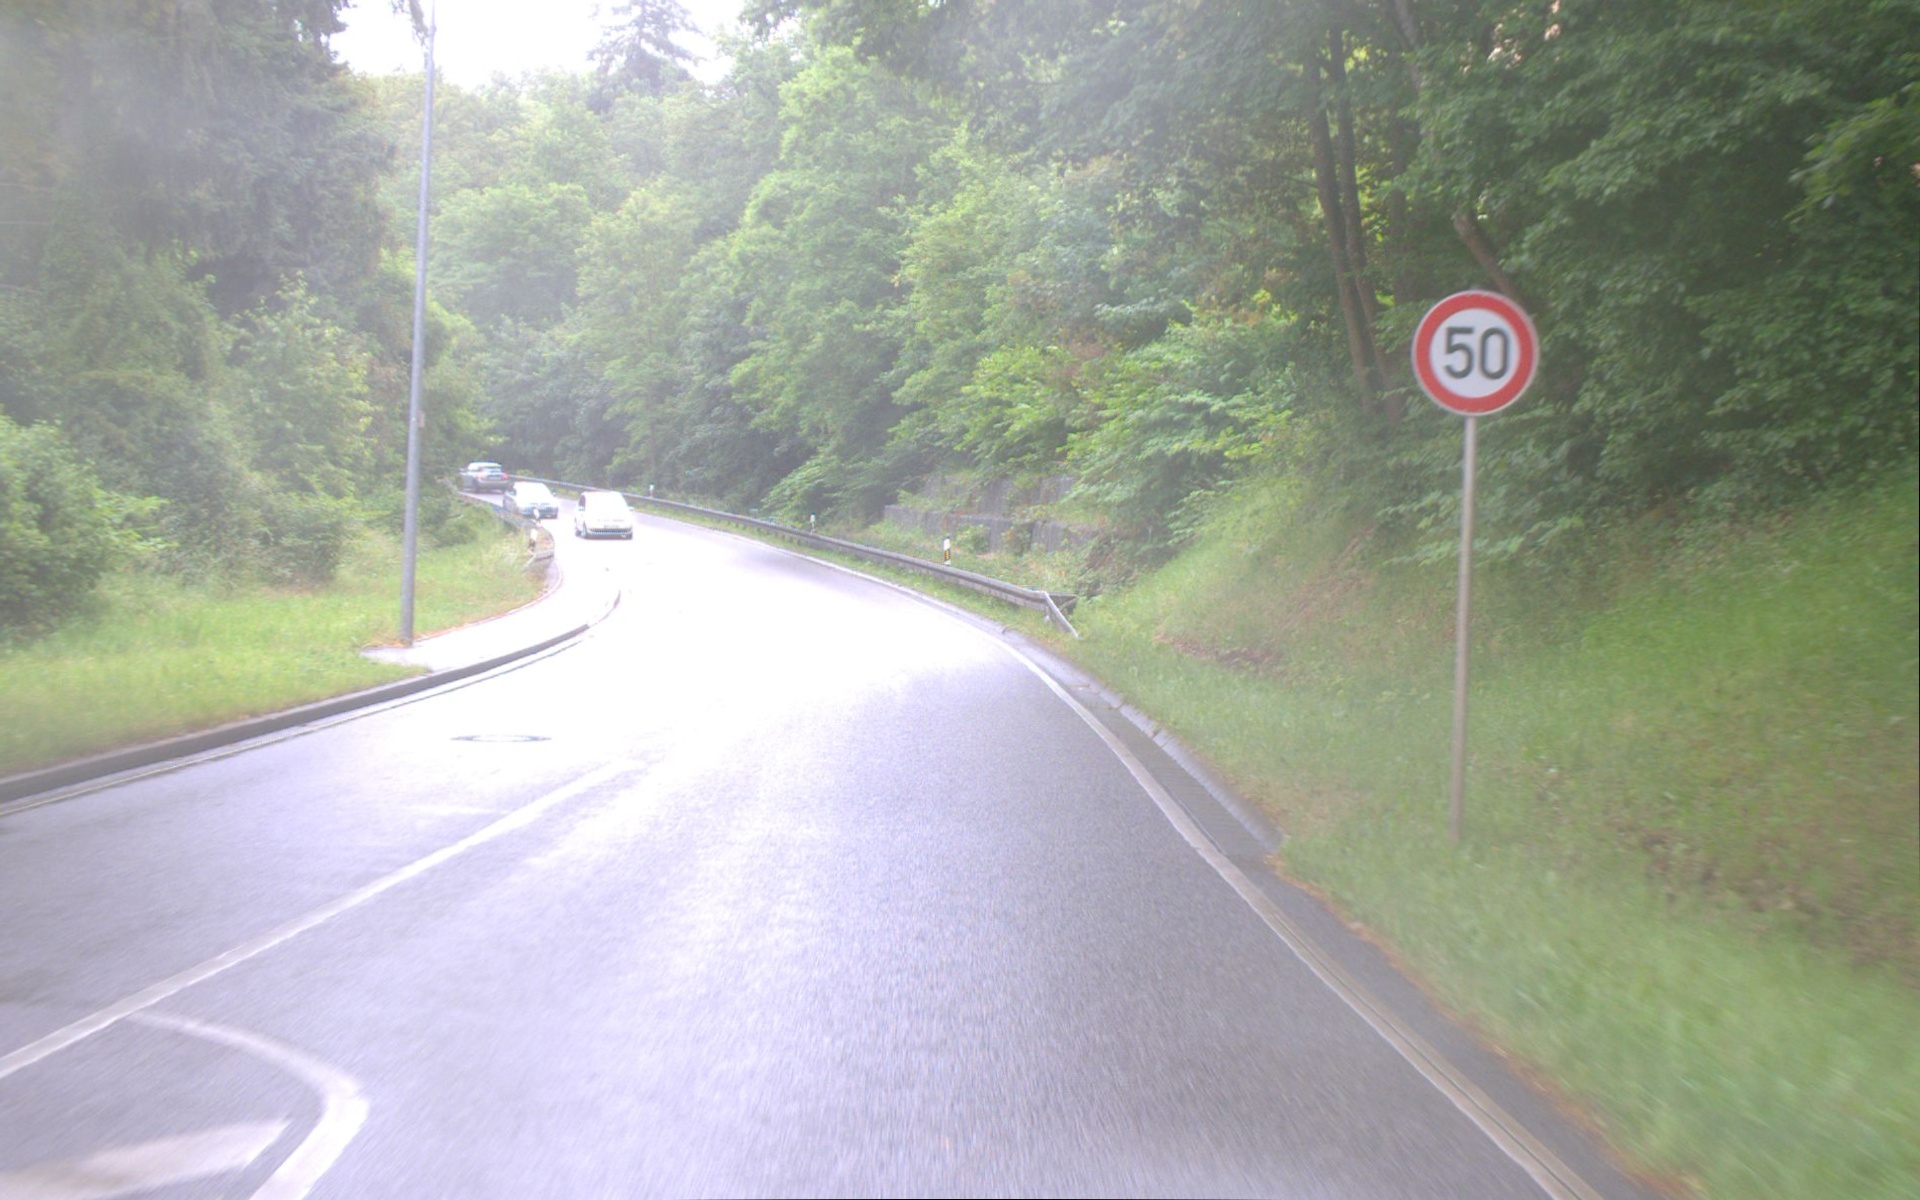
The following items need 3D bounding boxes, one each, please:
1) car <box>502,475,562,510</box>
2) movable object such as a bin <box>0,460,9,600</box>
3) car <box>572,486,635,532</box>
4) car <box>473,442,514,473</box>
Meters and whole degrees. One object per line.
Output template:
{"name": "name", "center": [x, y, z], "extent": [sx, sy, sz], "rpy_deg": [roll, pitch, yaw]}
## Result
{"name": "car", "center": [-18.169, -4.546, 145.864], "extent": [1.814, 1.429, 4.001], "rpy_deg": [0, 1, -18]}
{"name": "movable object such as a bin", "center": [-15.719, -0.937, 43.902], "extent": [1.849, 1.901, 7.895], "rpy_deg": [2, 1, 29]}
{"name": "car", "center": [-13.228, -3.366, 127.303], "extent": [1.814, 1.642, 4.133], "rpy_deg": [0, 1, -13]}
{"name": "car", "center": [-22.934, -7.023, 169.152], "extent": [1.736, 1.505, 4.001], "rpy_deg": [0, 2, -4]}
